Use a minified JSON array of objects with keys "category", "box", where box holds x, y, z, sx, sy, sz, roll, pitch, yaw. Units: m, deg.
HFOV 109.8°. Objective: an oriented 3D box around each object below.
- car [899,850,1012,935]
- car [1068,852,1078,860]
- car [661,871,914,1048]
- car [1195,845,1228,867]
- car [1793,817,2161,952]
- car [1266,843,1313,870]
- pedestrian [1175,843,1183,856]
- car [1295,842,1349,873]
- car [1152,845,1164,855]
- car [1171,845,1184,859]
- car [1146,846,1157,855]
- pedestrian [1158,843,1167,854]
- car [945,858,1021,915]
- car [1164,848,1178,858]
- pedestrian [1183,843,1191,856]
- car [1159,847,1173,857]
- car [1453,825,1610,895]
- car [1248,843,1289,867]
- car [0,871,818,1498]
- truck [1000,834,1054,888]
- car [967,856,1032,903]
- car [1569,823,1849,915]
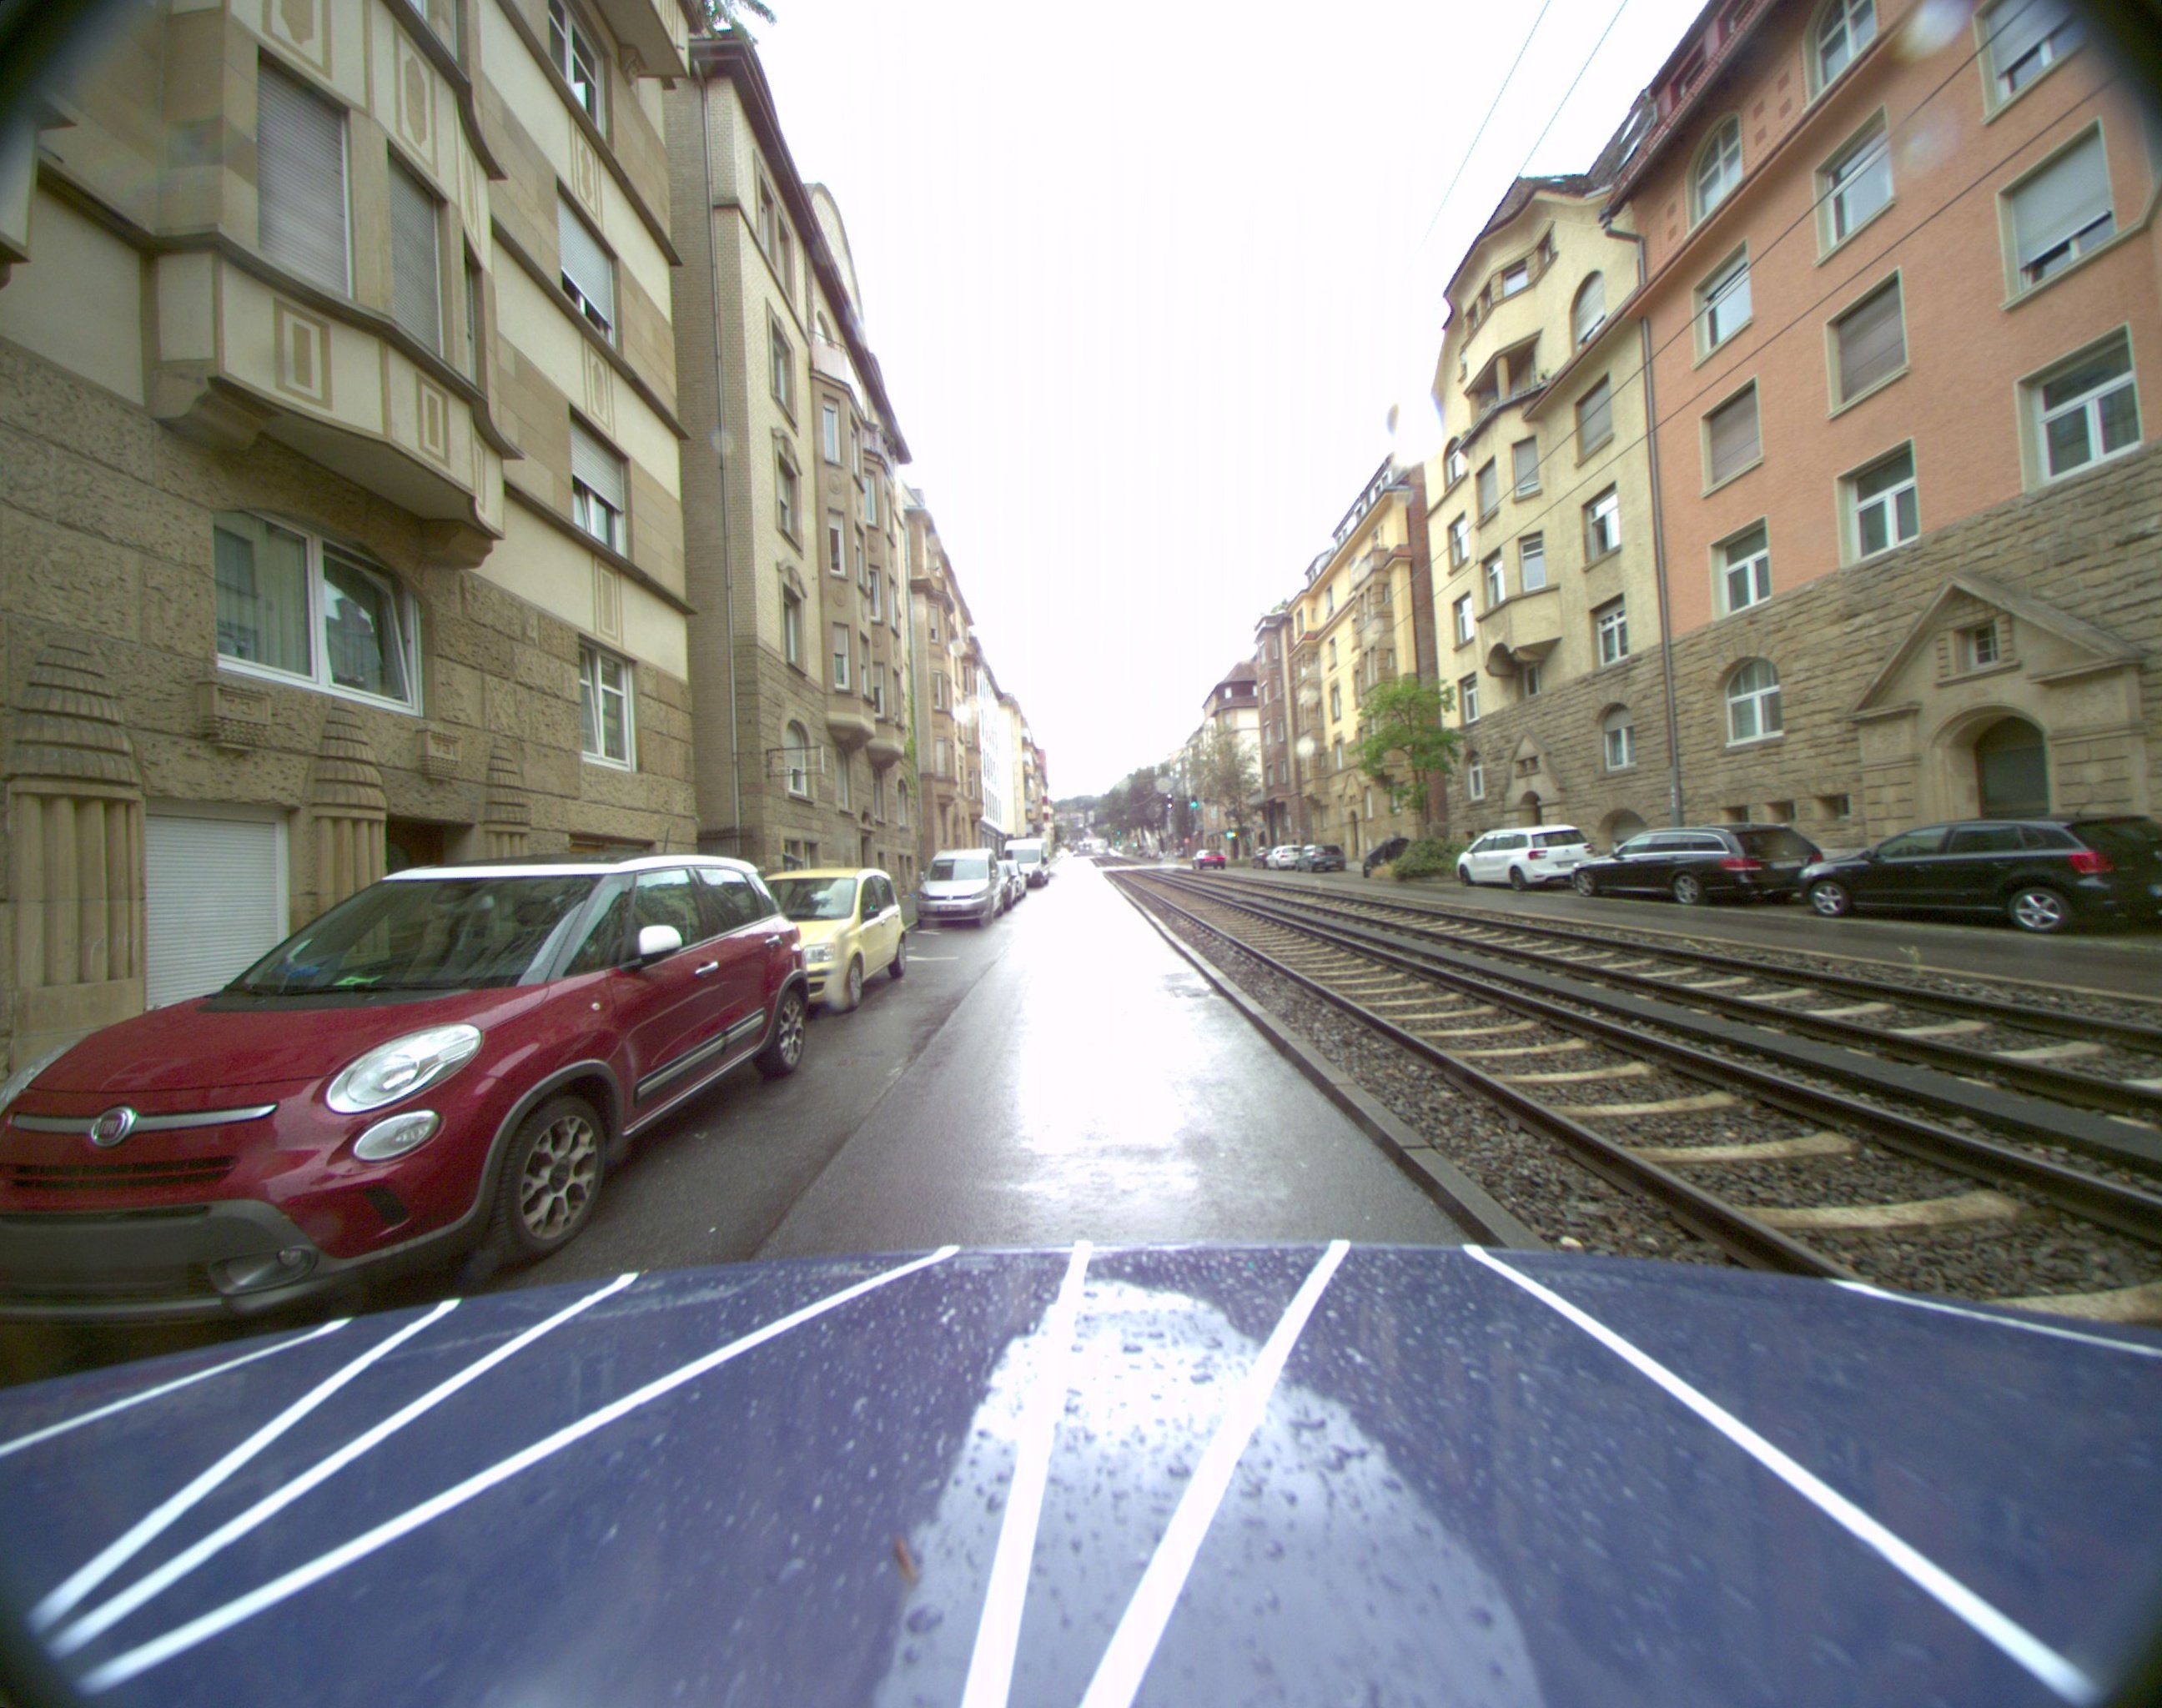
[{"category":"car","box":[-3.010,0.849,19.193,1.968,1.792,4.459,-3,0,1]},{"category":"car","box":[-1.875,0.421,180.438,1.998,1.838,4.000,-3,0,1]},{"category":"car","box":[-3.188,1.042,9.035,1.580,1.520,3.578,-3,0,-1]},{"category":"car","box":[9.775,0.145,57.269,1.807,1.514,4.965,-2,0,3]},{"category":"car","box":[12.529,0.315,10.461,1.935,1.488,3.641,-2,1,-2]},{"category":"car","box":[12.470,0.118,45.648,1.771,1.433,4.031,-3,0,2]},{"category":"pedestrian","box":[15.310,-0.643,118.983,1.056,1.946,1.163,-3,1,2]},{"category":"car","box":[12.503,0.129,39.609,1.678,1.433,3.845,-4,1,3]},{"category":"car","box":[12.832,-0.644,126.830,1.657,1.589,3.775,-3,0,1]},{"category":"car","box":[12.667,-0.243,99.540,1.583,1.669,3.790,-3,2,7]},{"category":"car","box":[12.427,-0.643,133.699,1.632,1.537,3.801,-3,0,1]},{"category":"pedestrian","box":[15.857,-1.068,147.843,1.380,1.946,1.379,-3,1,2]},{"category":"car","box":[-2.964,0.939,23.809,1.999,1.521,3.999,-3,0,-3]},{"category":"car","box":[12.568,-0.097,106.378,1.583,1.303,3.845,-3,0,1]},{"category":"pedestrian","box":[16.648,-0.695,118.969,1.056,1.946,1.163,-3,1,2]},{"category":"car","box":[12.863,-0.286,115.360,1.771,1.507,3.845,-3,0,1]},{"category":"car","box":[12.273,0.135,21.041,1.867,1.646,4.146,-3,0,1]},{"category":"car","box":[12.480,0.065,50.742,1.771,1.433,3.845,-3,0,1]},{"category":"car","box":[-3.032,0.979,4.086,1.807,1.590,3.999,-3,0,-1]},{"category":"truck","box":[-2.725,0.342,39.939,2.235,2.521,6.143,-3,0,1]},{"category":"car","box":[-2.953,0.881,28.310,1.891,1.521,3.929,-3,0,1]},{"category":"car","box":[12.292,0.247,15.379,1.847,1.486,4.601,-3,0,1]}]
